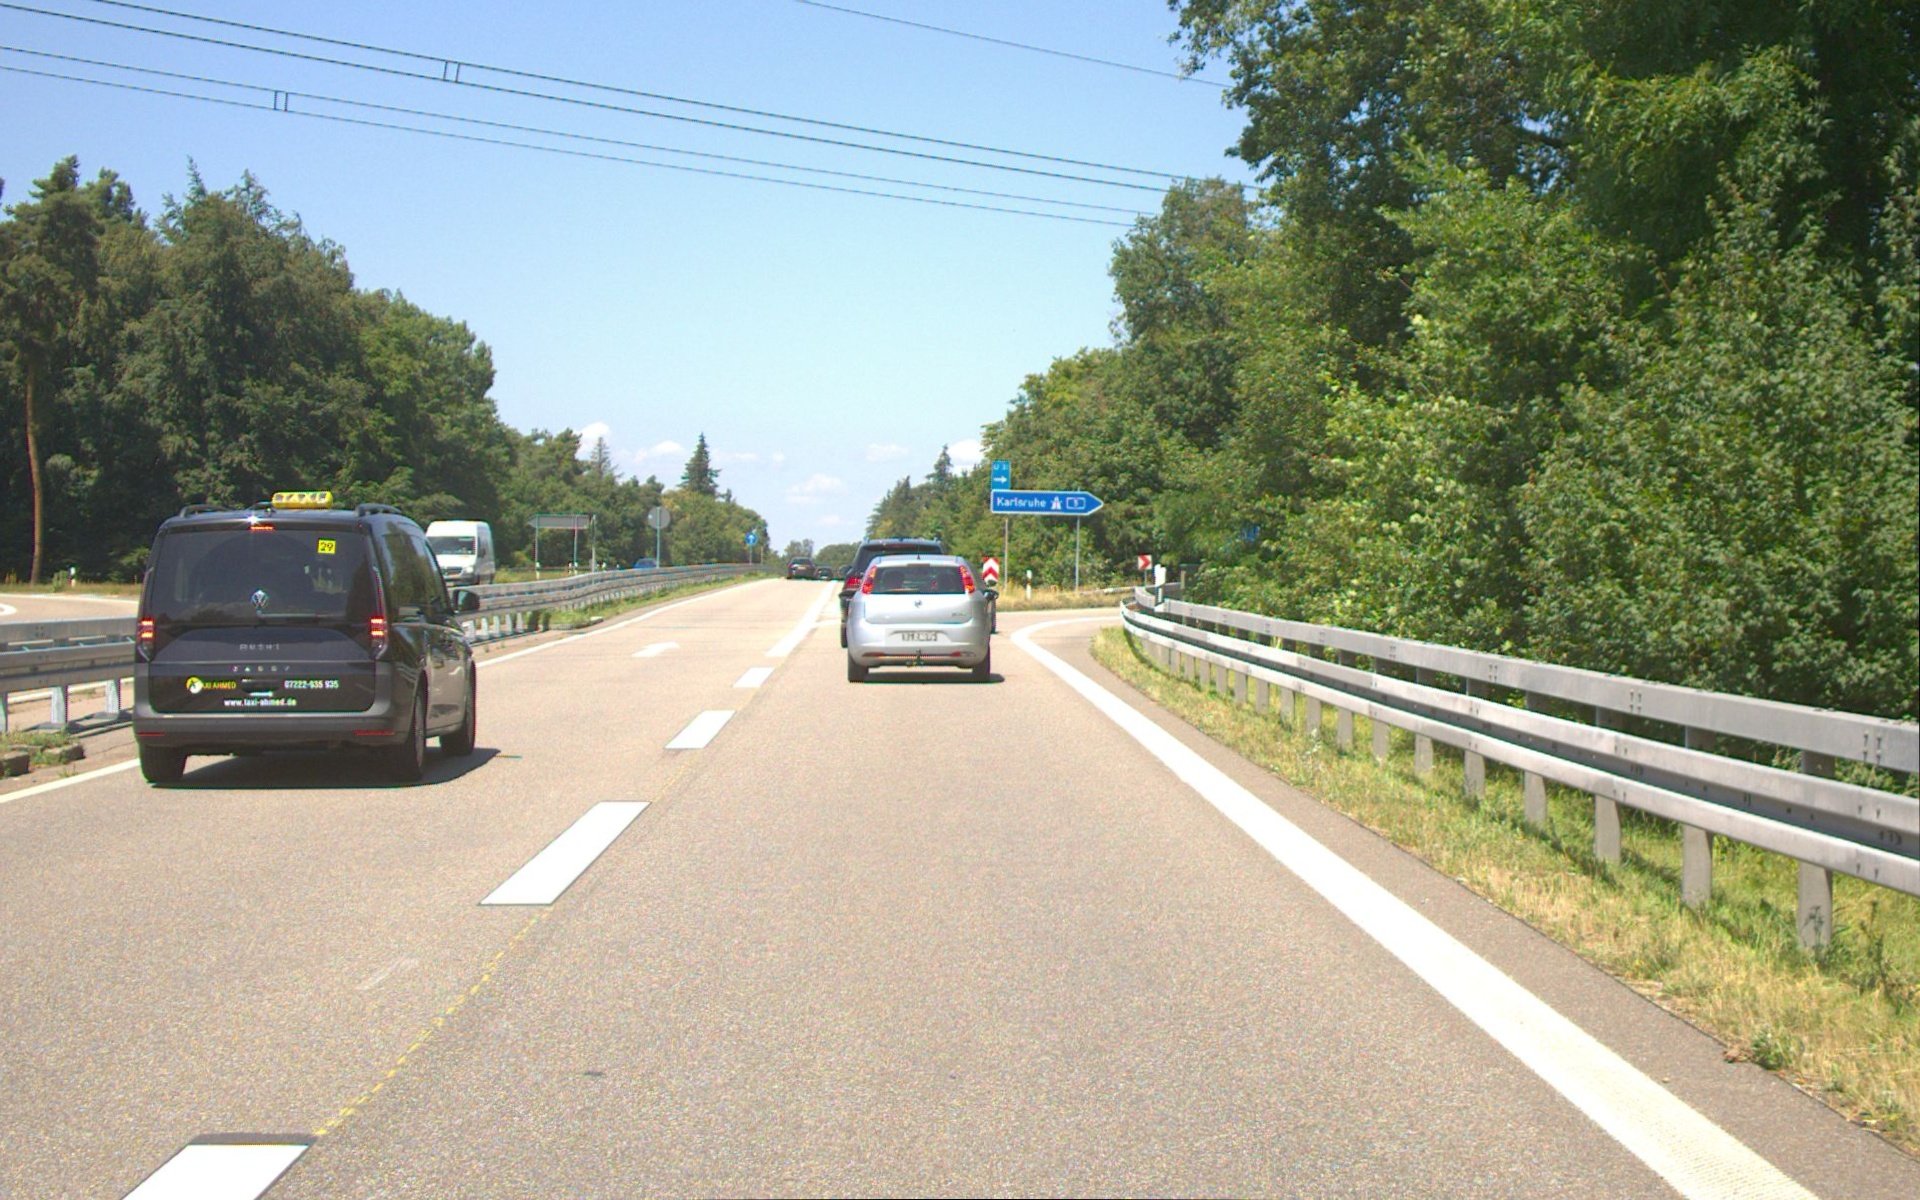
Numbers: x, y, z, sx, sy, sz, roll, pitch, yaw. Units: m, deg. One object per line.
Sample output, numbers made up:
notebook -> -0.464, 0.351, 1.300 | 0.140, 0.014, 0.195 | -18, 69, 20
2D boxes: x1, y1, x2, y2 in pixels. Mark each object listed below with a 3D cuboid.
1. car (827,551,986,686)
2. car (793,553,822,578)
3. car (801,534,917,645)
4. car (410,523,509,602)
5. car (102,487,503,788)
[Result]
car -> -0.673, 0.190, 40.818 | 1.640, 1.463, 3.419 | 2, 1, -4
car -> -9.745, -2.220, 220.224 | 1.712, 1.466, 3.574 | 2, 1, -1
car -> -1.589, -0.182, 55.342 | 1.640, 1.648, 3.574 | 2, 1, 1
car -> -17.296, -1.302, 119.213 | 2.524, 2.609, 7.186 | -1, 1, -2
car -> -4.489, 0.200, 24.317 | 1.854, 1.880, 5.574 | 0, 1, -1
